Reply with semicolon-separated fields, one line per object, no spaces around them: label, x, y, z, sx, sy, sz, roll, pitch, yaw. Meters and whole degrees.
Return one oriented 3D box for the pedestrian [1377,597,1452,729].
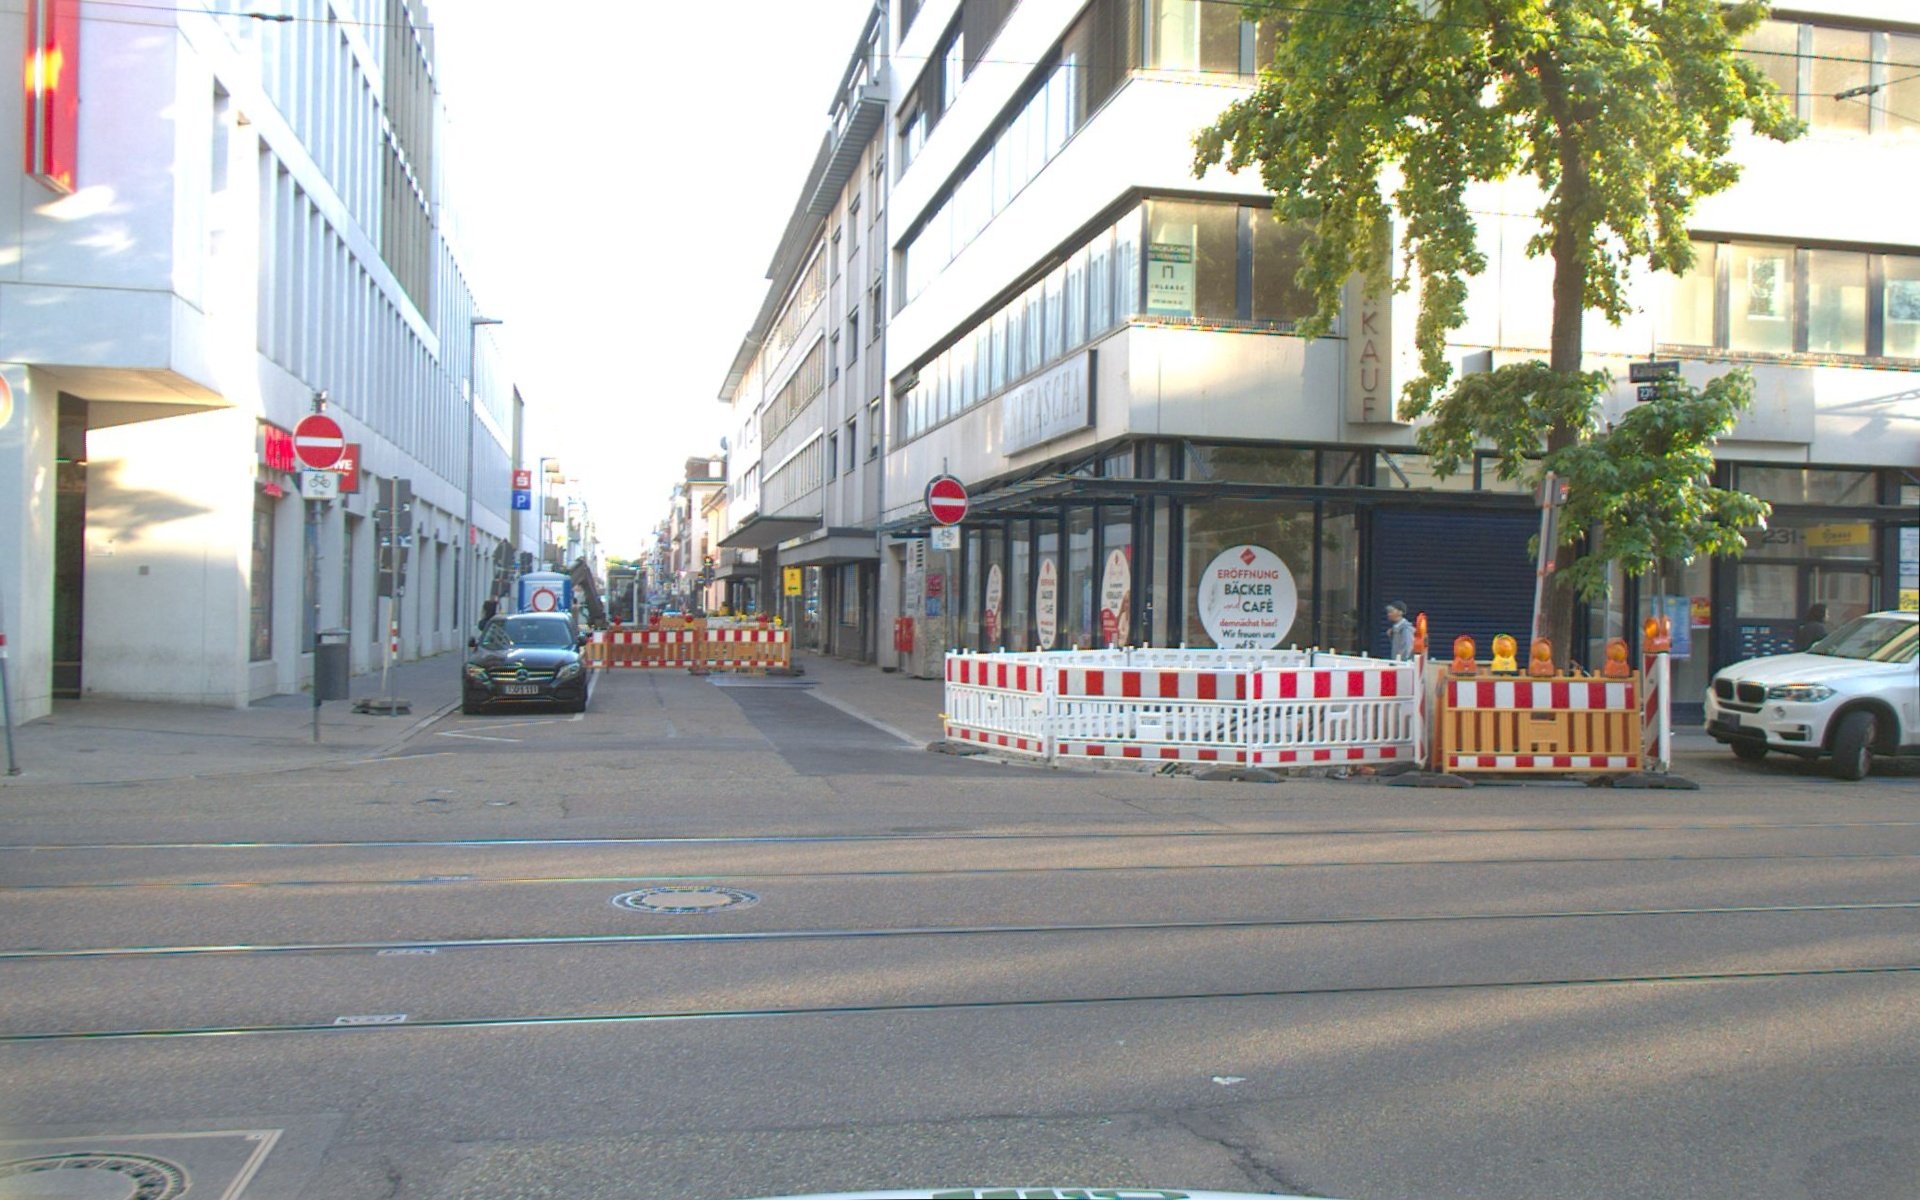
pedestrian;5.527;0.748;20.132;0.693;1.576;0.577;0;0;-14

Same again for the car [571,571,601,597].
car;-26.544;-1.114;117.568;1.958;1.808;3.989;0;0;-11

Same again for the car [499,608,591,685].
car;-8.545;0.916;34.046;1.760;1.477;3.130;0;0;-15

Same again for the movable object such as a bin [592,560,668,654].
movable object such as a bin;-10.009;0.208;50.128;2.118;2.710;4.559;1;0;-12

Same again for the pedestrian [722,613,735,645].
pedestrian;-10.802;1.355;77.104;0.513;1.490;0.718;1;-1;-4

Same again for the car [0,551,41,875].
car;-7.460;0.558;7.971;4.843;1.756;2.016;1;-1;-12

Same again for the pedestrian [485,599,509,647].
pedestrian;-14.742;0.727;52.675;0.703;1.490;0.524;0;0;-9

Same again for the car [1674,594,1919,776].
car;10.763;0.920;18.456;4.843;1.806;2.017;1;2;-12

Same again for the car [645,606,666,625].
car;-29.842;1.480;162.055;1.958;1.808;3.989;0;0;-11

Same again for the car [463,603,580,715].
car;-6.635;0.840;25.106;1.602;1.577;3.130;0;0;-15

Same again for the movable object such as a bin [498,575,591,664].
movable object such as a bin;-10.028;0.439;40.183;1.958;2.049;3.989;0;0;-11
